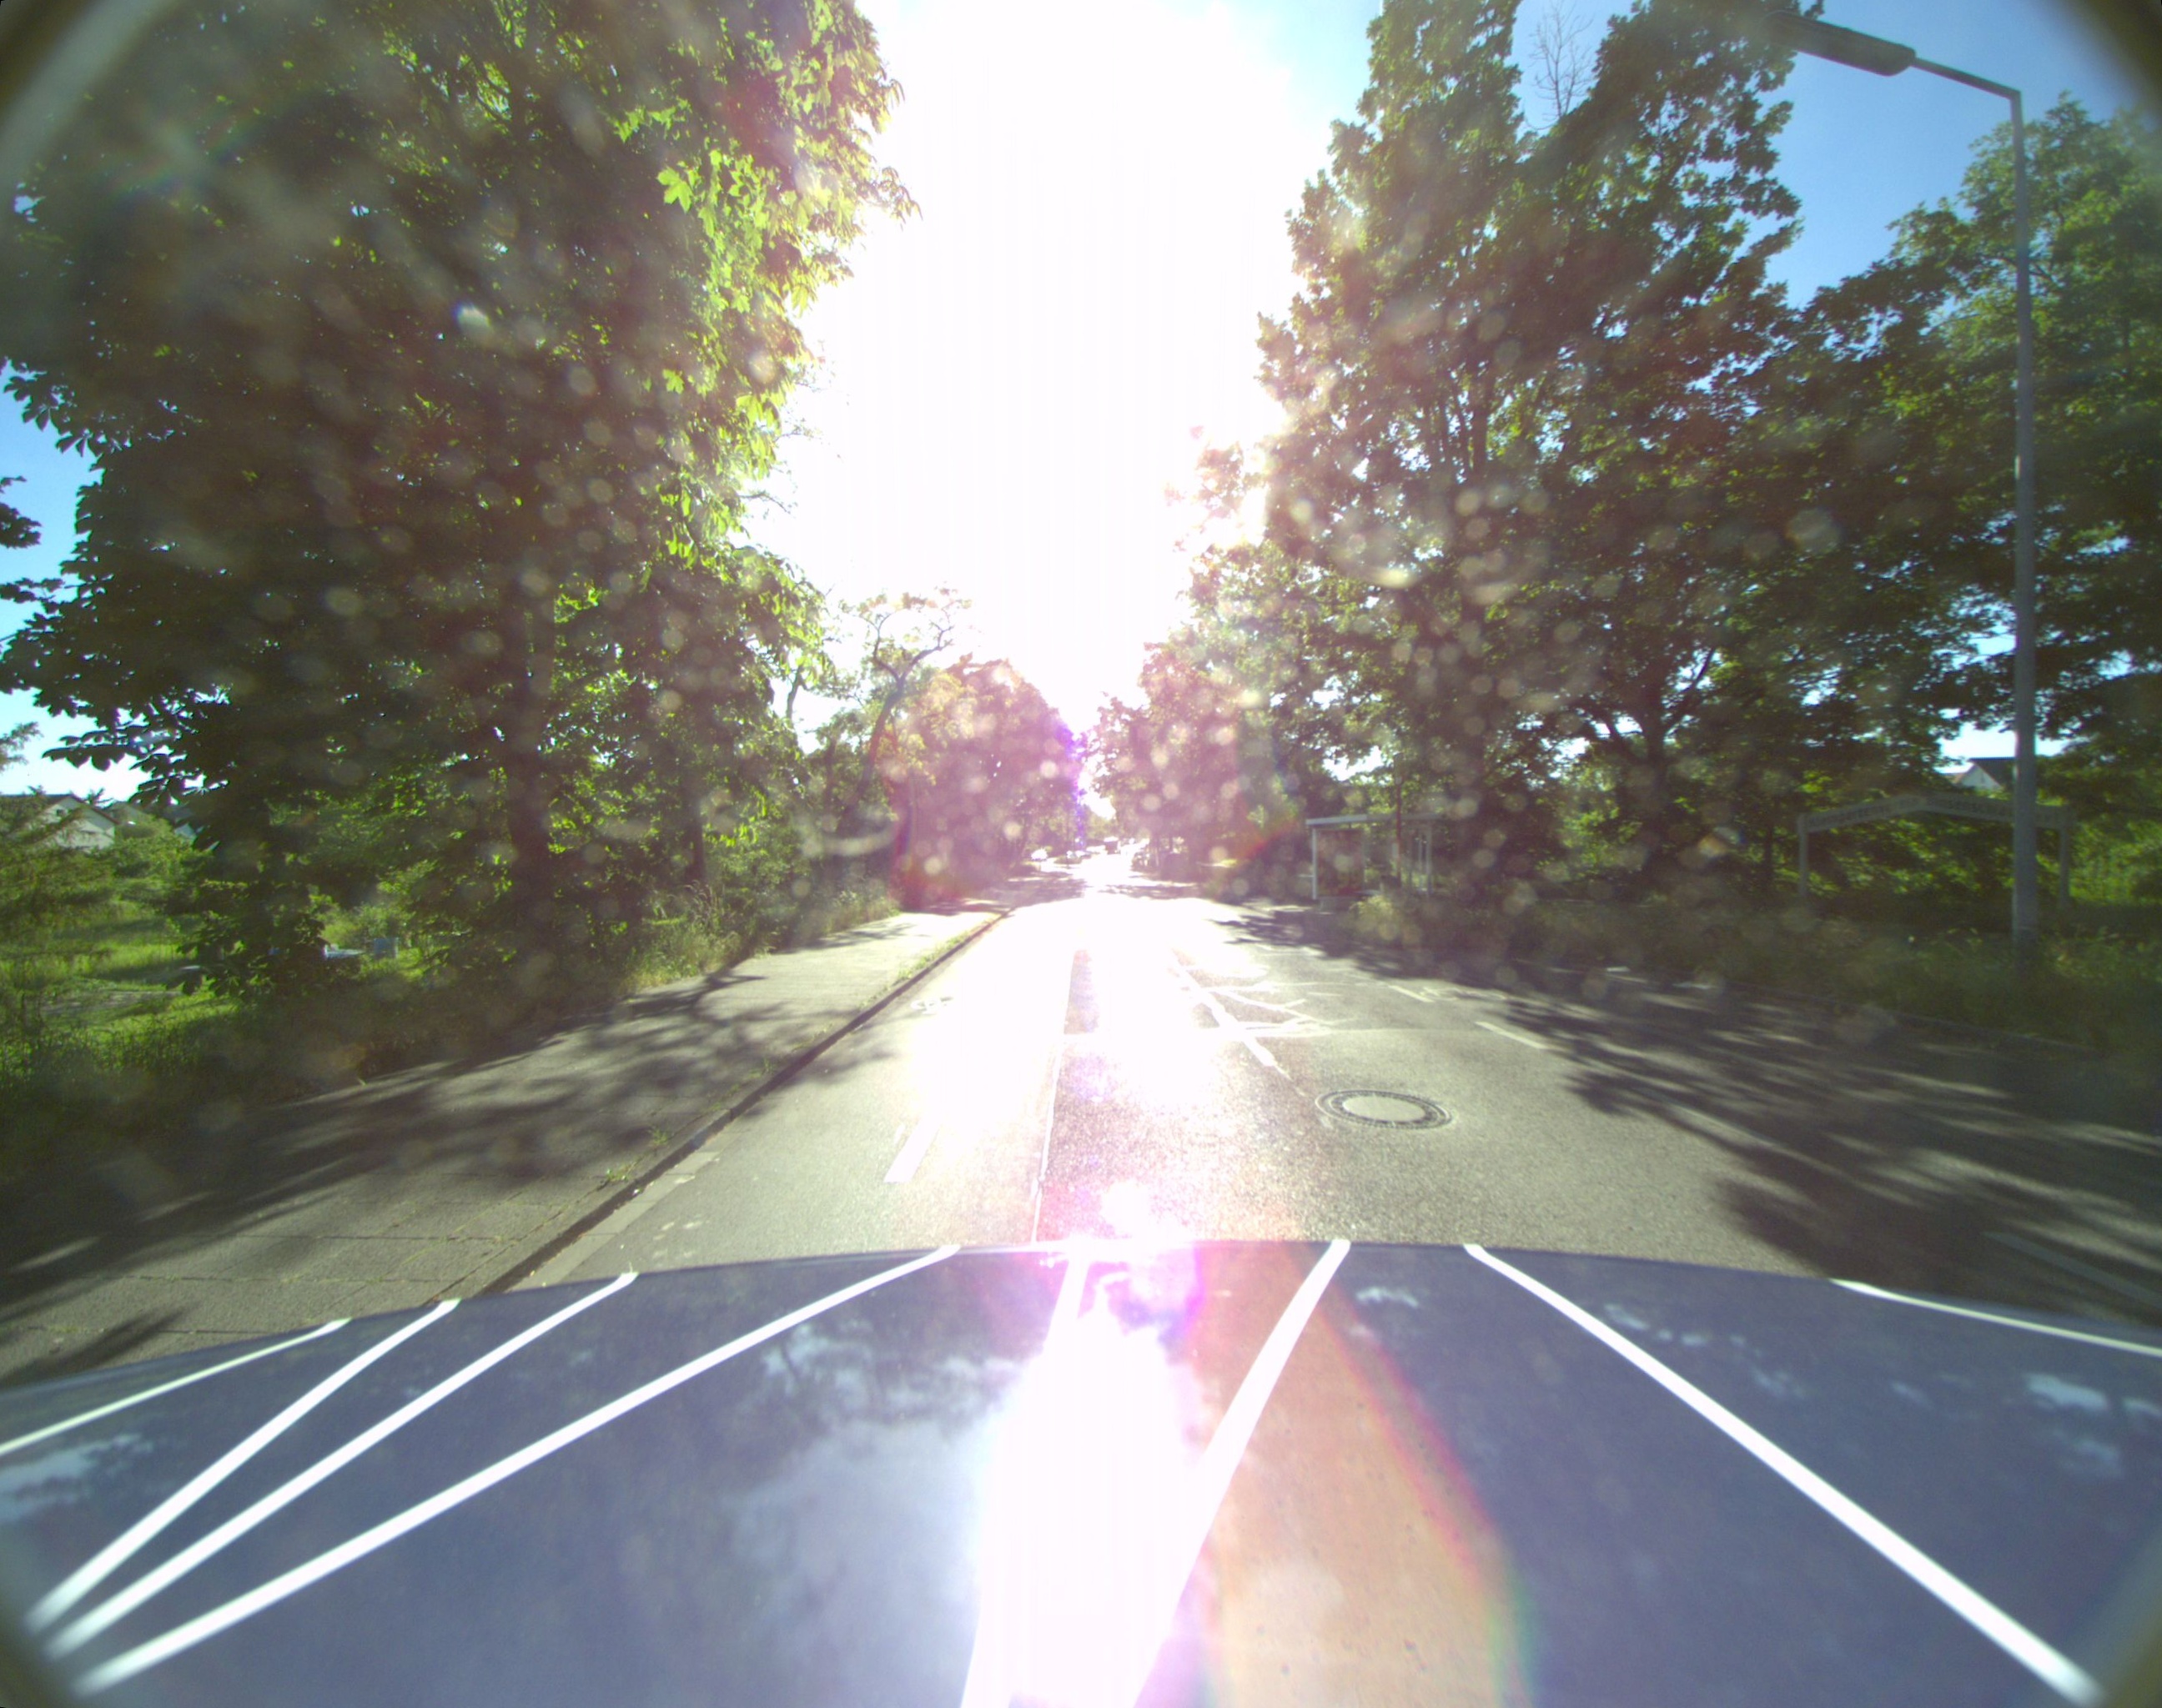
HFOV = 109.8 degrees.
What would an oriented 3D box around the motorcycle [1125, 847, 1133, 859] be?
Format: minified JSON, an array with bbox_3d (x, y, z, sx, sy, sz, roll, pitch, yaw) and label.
[{"bbox_3d":[7.338,-0.138,115.869,0.815,1.668,2.411,-3,1,-2],"label":"motorcycle"}]

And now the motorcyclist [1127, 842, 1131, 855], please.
[{"bbox_3d":[7.315,-0.871,115.947,0.537,2.002,0.826,-3,1,-2],"label":"motorcyclist"}]

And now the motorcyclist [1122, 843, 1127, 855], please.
[{"bbox_3d":[6.978,-0.792,123.008,0.640,2.002,0.739,-3,1,-2],"label":"motorcyclist"}]

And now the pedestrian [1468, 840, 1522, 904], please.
[{"bbox_3d":[11.193,0.480,20.574,0.915,1.678,0.891,-2,0,2],"label":"pedestrian"}]

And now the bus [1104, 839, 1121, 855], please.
[{"bbox_3d":[6.392,-1.414,156.590,2.790,2.965,12.893,-2,0,-1],"label":"bus"}]

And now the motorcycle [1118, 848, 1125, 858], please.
[{"bbox_3d":[6.567,-0.196,123.095,0.815,1.624,2.411,-3,1,-2],"label":"motorcycle"}]
